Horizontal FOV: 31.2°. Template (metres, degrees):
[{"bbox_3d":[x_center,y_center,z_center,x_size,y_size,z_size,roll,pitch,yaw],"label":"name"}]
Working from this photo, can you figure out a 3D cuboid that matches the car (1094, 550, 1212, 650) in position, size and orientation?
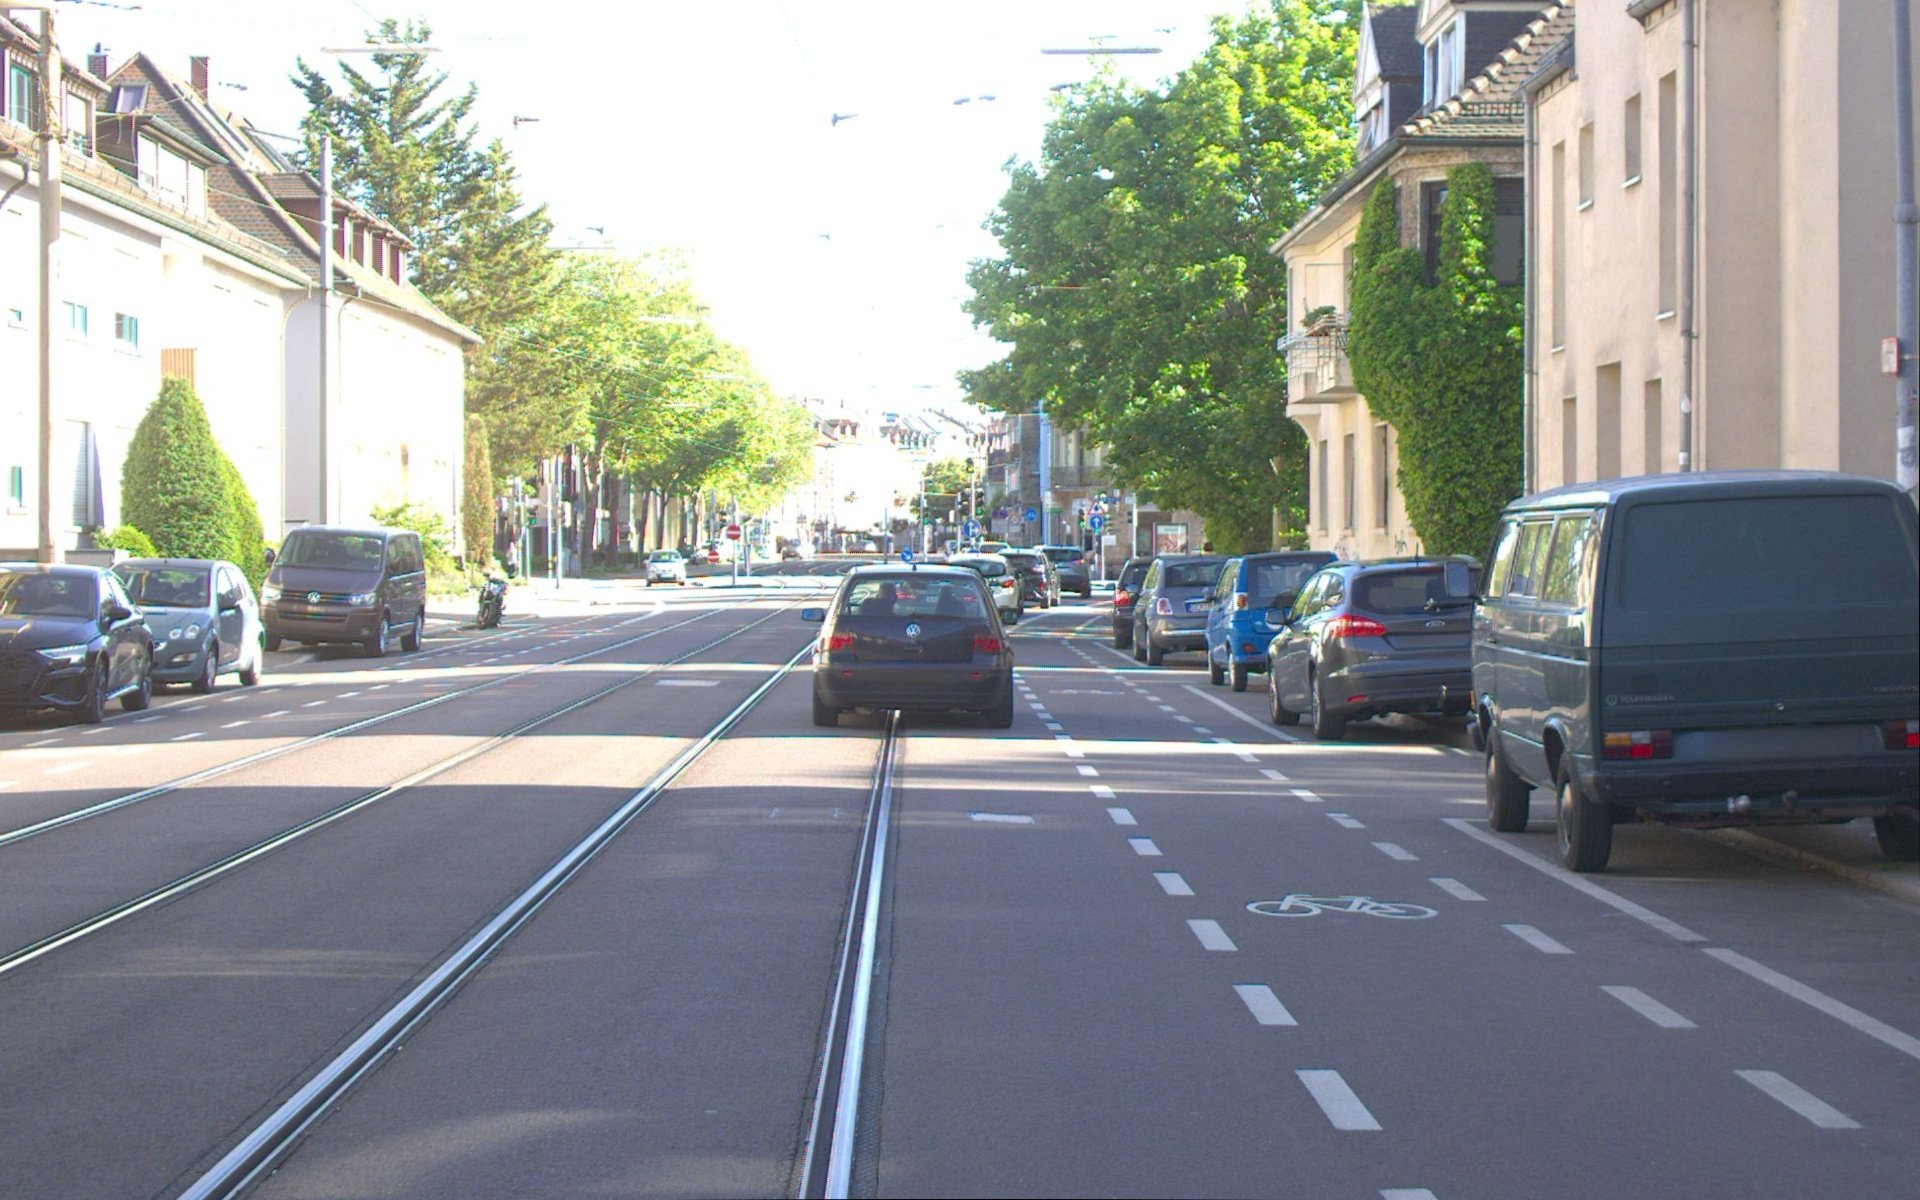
[{"bbox_3d":[3.141,-0.021,56.526,1.665,1.558,3.771,1,1,-1],"label":"car"}]

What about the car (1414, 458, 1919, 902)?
[{"bbox_3d":[3.706,0.327,17.928,1.905,1.980,4.563,2,1,-1],"label":"car"}]

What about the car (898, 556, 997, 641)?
[{"bbox_3d":[-0.204,-0.046,58.737,1.634,1.367,3.757,0,1,0],"label":"car"}]

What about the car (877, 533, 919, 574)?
[{"bbox_3d":[-2.931,-2.194,162.121,1.787,1.853,4.001,2,1,-2],"label":"car"}]

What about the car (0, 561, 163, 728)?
[{"bbox_3d":[-8.805,0.377,32.911,1.662,1.472,4.251,0,1,-4],"label":"car"}]

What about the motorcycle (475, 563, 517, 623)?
[{"bbox_3d":[-9.322,-0.150,69.116,0.536,1.158,2.172,-2,1,0],"label":"motorcycle"}]

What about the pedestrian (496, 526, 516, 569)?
[{"bbox_3d":[-18.479,-2.132,139.978,0.609,1.684,0.734,2,1,-19],"label":"pedestrian"}]

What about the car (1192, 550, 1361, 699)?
[{"bbox_3d":[3.594,0.246,39.438,1.457,1.593,3.294,2,1,-2],"label":"car"}]

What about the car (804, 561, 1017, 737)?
[{"bbox_3d":[-0.425,0.382,30.390,1.716,1.398,4.006,2,1,0],"label":"car"}]

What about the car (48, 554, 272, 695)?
[{"bbox_3d":[-9.130,0.245,39.507,1.676,1.472,3.835,2,1,-1],"label":"car"}]

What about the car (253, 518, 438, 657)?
[{"bbox_3d":[-9.489,-0.235,53.471,1.906,2.007,4.949,2,1,0],"label":"car"}]

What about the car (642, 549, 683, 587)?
[{"bbox_3d":[-11.725,-1.267,135.452,1.575,1.472,3.441,-1,1,-5],"label":"car"}]

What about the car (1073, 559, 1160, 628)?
[{"bbox_3d":[3.428,-0.153,75.886,1.569,1.306,3.648,0,3,-3],"label":"car"}]

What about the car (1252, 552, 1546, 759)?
[{"bbox_3d":[3.702,0.414,29.728,1.744,1.593,4.434,2,1,-2],"label":"car"}]

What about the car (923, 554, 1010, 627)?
[{"bbox_3d":[0.119,-0.214,70.587,1.740,1.436,3.810,0,1,0],"label":"car"}]

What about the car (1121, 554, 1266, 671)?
[{"bbox_3d":[3.226,0.148,48.068,1.601,1.520,3.550,2,1,-2],"label":"car"}]

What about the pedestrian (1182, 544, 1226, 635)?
[{"bbox_3d":[4.609,-0.205,65.002,0.717,1.682,0.870,-1,1,-2],"label":"pedestrian"}]
